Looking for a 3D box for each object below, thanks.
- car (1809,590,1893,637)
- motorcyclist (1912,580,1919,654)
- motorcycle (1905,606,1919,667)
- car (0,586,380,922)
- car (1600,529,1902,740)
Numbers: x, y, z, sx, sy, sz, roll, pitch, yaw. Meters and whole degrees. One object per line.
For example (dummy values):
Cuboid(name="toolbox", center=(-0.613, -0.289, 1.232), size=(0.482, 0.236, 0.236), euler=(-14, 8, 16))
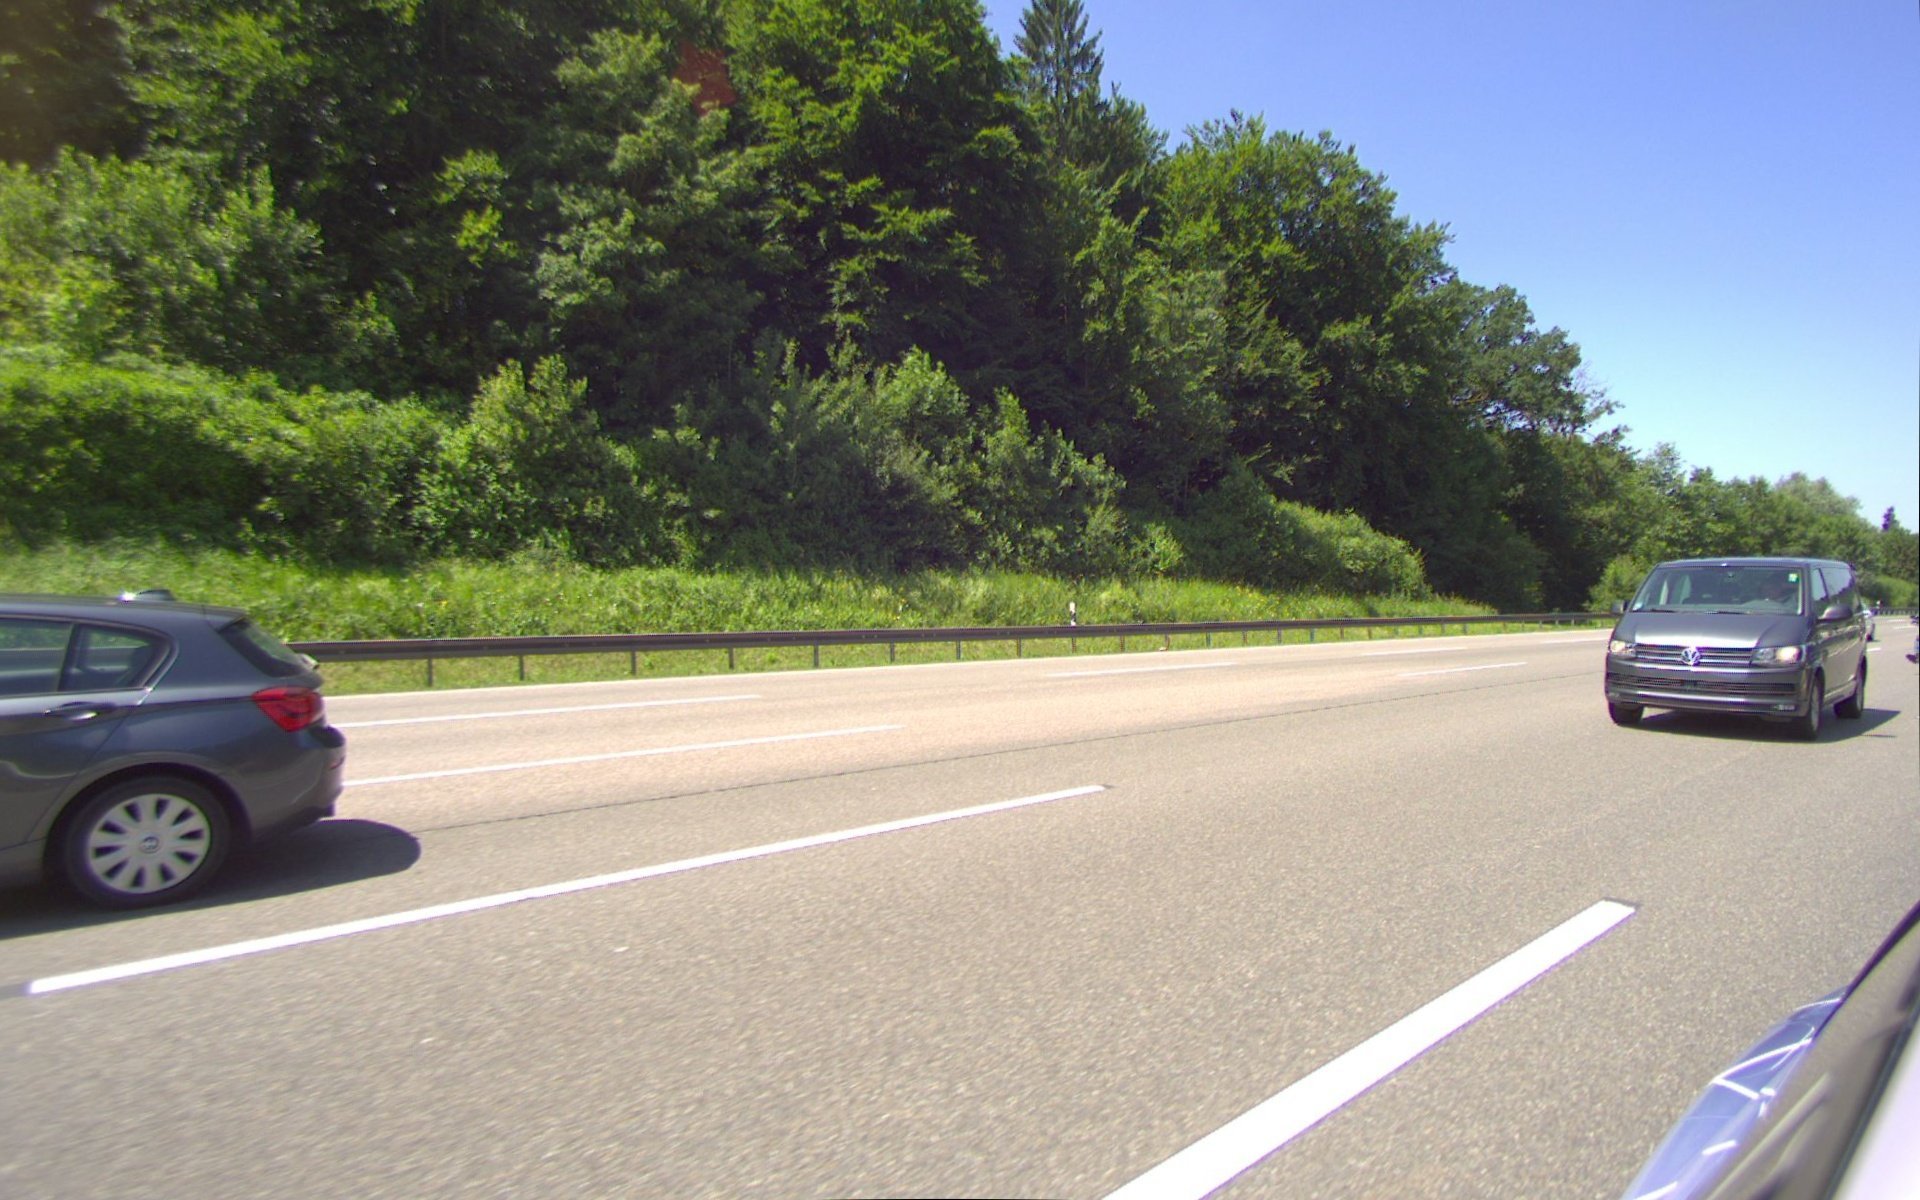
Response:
Cuboid(name="car", center=(31.489, 0.441, 35.726), size=(4.407, 1.538, 1.752), euler=(0, 1, -42))
Cuboid(name="motorcyclist", center=(19.410, 0.336, 19.776), size=(1.002, 1.445, 0.857), euler=(-1, 1, -24))
Cuboid(name="motorcycle", center=(19.582, 0.699, 19.938), size=(2.386, 1.150, 0.538), euler=(-1, 1, -24))
Cuboid(name="car", center=(-5.058, 0.644, 4.519), size=(4.079, 1.413, 1.706), euler=(0, 1, -40))
Cuboid(name="car", center=(9.731, 0.314, 12.281), size=(4.994, 2.059, 1.966), euler=(0, 1, -41))
